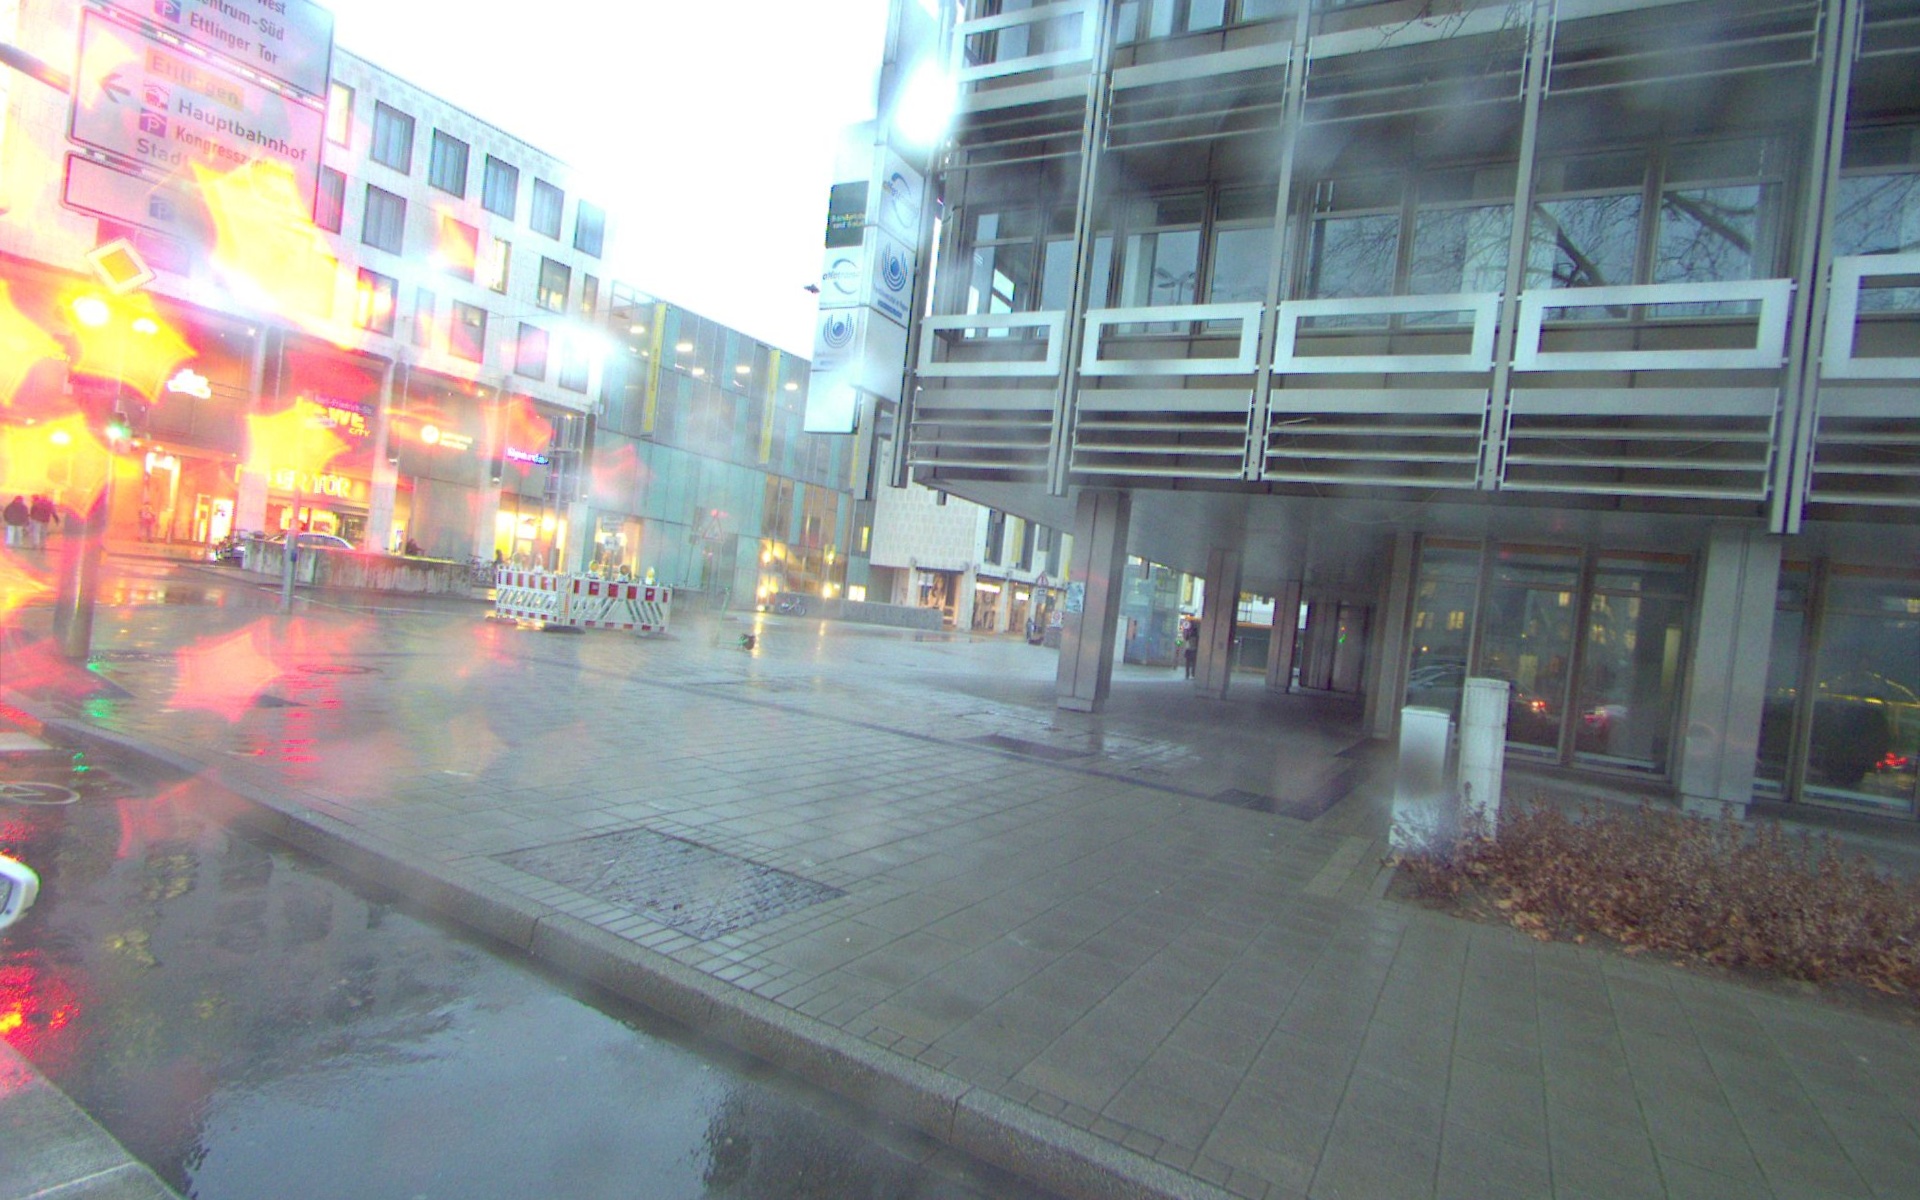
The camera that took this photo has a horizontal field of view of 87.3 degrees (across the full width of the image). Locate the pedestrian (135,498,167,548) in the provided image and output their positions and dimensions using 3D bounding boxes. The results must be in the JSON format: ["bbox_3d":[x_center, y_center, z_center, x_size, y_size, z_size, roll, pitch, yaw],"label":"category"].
[{"bbox_3d":[-35.507,-3.383,44.166,0.688,2.038,0.845,7,1,40],"label":"pedestrian"}]

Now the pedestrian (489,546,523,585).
[{"bbox_3d":[-21.737,-1.648,48.156,0.810,1.703,1.032,6,-1,31],"label":"pedestrian"}]

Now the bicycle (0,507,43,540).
[{"bbox_3d":[-36.415,-2.982,38.596,0.515,1.082,1.651,7,-2,28],"label":"bicycle"}]

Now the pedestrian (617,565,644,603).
[{"bbox_3d":[-15.840,-0.753,48.326,0.770,1.703,0.742,6,-1,38],"label":"pedestrian"}]

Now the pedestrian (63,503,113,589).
[{"bbox_3d":[-26.475,-1.645,30.547,0.778,2.477,0.694,7,-1,32],"label":"pedestrian"}]

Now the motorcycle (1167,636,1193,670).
[{"bbox_3d":[9.663,2.338,44.167,0.584,1.368,1.493,7,-1,29],"label":"motorcycle"}]

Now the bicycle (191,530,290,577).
[{"bbox_3d":[-26.336,-1.683,36.875,0.941,1.375,2.718,6,-1,28],"label":"bicycle"}]

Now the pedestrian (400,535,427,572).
[{"bbox_3d":[-26.503,-2.242,48.767,0.519,1.705,0.894,6,0,31],"label":"pedestrian"}]

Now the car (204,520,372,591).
[{"bbox_3d":[-21.742,-1.395,32.692,1.968,1.636,3.994,6,-2,33],"label":"car"}]

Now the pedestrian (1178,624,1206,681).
[{"bbox_3d":[7.708,1.743,33.441,0.678,1.796,0.660,7,-1,16],"label":"pedestrian"}]

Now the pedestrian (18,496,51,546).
[{"bbox_3d":[-34.107,-2.915,37.084,0.564,1.730,0.637,7,1,31],"label":"pedestrian"}]

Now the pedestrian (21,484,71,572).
[{"bbox_3d":[-26.977,-2.132,29.695,0.745,2.469,0.691,7,-1,31],"label":"pedestrian"}]

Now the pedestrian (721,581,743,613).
[{"bbox_3d":[-13.143,-0.162,58.028,0.770,1.703,0.742,6,-1,38],"label":"pedestrian"}]

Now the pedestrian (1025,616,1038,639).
[{"bbox_3d":[5.405,2.088,76.211,0.573,1.703,0.542,6,-1,38],"label":"pedestrian"}]

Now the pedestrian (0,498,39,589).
[{"bbox_3d":[-27.065,-1.620,28.736,0.745,2.469,0.716,7,-1,31],"label":"pedestrian"}]

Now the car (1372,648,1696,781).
[{"bbox_3d":[8.606,1.634,15.309,3.935,1.327,1.994,6,1,33],"label":"car"}]

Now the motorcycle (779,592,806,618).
[{"bbox_3d":[-10.187,0.294,61.158,0.585,1.368,1.491,7,-1,36],"label":"motorcycle"}]

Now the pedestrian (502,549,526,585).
[{"bbox_3d":[-23.133,-1.733,52.217,0.786,1.760,0.767,6,1,-43],"label":"pedestrian"}]

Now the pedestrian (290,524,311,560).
[{"bbox_3d":[-33.447,-2.950,51.012,0.729,1.740,0.733,6,1,-31],"label":"pedestrian"}]

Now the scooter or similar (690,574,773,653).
[{"bbox_3d":[-4.599,0.263,20.184,1.470,1.368,0.593,7,-1,32],"label":"scooter or similar"}]

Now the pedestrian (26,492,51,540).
[{"bbox_3d":[-34.036,-3.105,37.158,0.480,1.683,0.454,6,1,-28],"label":"pedestrian"}]

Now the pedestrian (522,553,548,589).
[{"bbox_3d":[-21.682,-1.455,51.280,0.770,1.703,0.742,6,-1,38],"label":"pedestrian"}]

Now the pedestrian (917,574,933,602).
[{"bbox_3d":[-2.233,-0.770,64.080,0.573,1.703,0.542,6,-1,38],"label":"pedestrian"}]
